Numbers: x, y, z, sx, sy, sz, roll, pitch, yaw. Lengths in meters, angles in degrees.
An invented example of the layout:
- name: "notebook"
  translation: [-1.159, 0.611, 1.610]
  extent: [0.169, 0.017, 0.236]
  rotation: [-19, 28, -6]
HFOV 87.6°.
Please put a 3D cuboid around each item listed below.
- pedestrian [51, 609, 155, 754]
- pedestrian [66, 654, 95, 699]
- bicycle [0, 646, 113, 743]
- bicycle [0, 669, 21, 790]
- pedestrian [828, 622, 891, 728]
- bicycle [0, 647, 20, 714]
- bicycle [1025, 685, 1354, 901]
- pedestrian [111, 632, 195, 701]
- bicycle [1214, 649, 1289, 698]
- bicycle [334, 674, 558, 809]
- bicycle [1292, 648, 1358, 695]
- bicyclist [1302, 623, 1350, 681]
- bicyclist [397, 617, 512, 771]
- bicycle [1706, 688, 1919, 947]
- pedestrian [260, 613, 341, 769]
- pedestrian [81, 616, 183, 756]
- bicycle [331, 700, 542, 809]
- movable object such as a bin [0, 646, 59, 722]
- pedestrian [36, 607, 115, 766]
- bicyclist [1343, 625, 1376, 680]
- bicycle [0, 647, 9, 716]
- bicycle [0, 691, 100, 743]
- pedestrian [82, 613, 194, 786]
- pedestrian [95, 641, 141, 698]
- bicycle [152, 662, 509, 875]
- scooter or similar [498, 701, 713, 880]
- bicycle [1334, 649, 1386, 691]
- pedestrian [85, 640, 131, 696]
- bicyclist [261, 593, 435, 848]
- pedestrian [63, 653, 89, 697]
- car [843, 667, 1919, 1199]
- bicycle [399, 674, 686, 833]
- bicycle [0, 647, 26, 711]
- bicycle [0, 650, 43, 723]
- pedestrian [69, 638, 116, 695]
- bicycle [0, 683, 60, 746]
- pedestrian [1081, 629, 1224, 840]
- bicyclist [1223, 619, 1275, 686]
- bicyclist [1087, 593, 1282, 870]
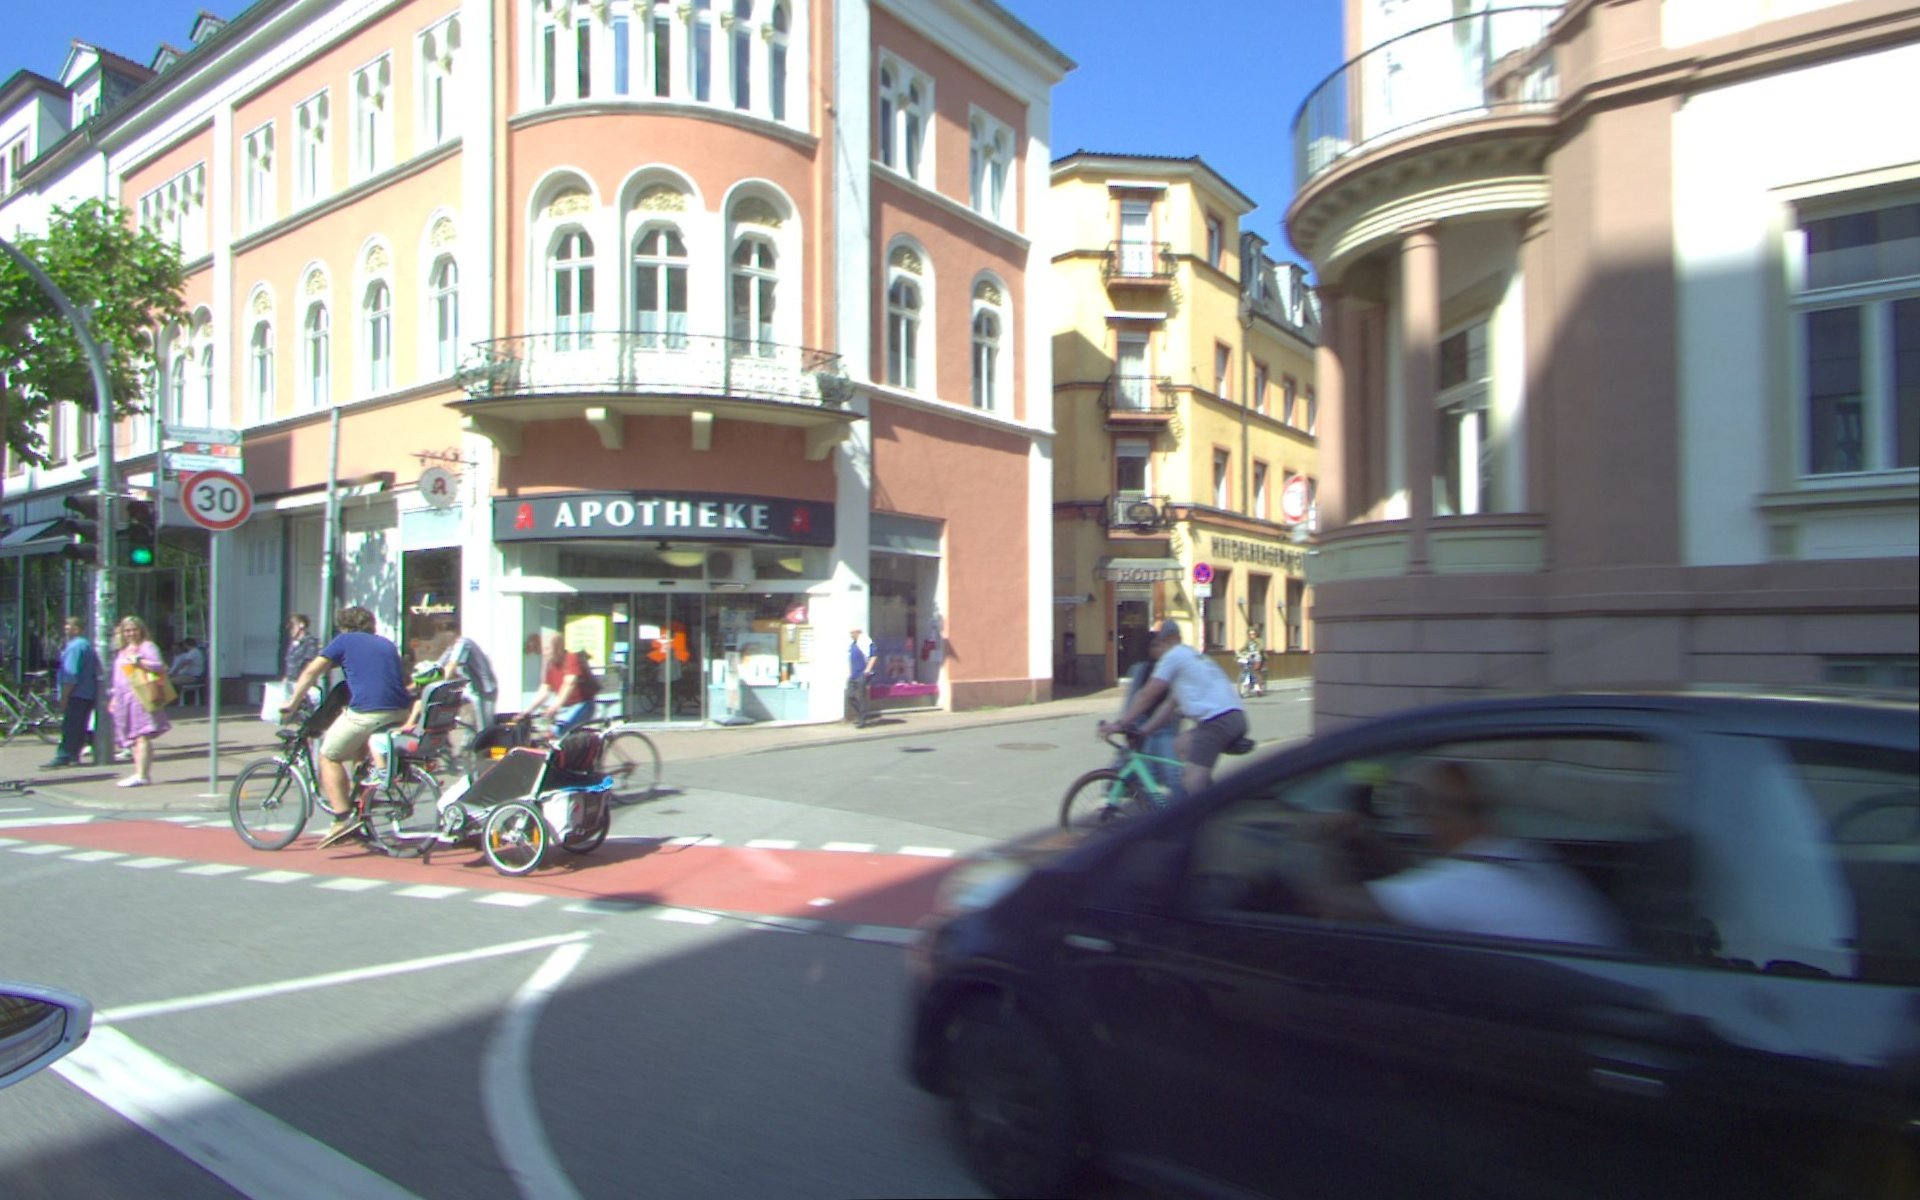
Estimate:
- name: "pedestrian"
  translation: [-11.175, 1.049, 13.064]
  extent: [0.631, 1.817, 0.787]
  rotation: [0, -3, 30]
- name: "pedestrian"
  translation: [-19.756, 1.712, 22.496]
  extent: [0.431, 0.980, 0.364]
  rotation: [0, -2, 34]
- name: "bicycle"
  translation: [-12.682, 1.247, 13.409]
  extent: [1.826, 1.203, 0.715]
  rotation: [5, -2, -20]
- name: "bicycle"
  translation: [-10.140, 1.241, 9.850]
  extent: [2.050, 1.140, 0.698]
  rotation: [-1, -4, 30]
- name: "pedestrian"
  translation: [-1.674, 1.230, 16.644]
  extent: [0.781, 1.680, 0.636]
  rotation: [2, 0, 43]
- name: "bicycle"
  translation: [-17.093, 1.366, 16.787]
  extent: [0.657, 1.141, 1.836]
  rotation: [-2, -3, 34]
- name: "bicycle"
  translation: [1.476, 1.196, 6.620]
  extent: [2.046, 1.142, 0.570]
  rotation: [0, 0, 30]
- name: "pedestrian"
  translation: [-17.533, 1.435, 21.776]
  extent: [0.778, 1.440, 1.232]
  rotation: [-2, -2, 30]
- name: "bicycle"
  translation: [7.197, 1.783, 24.604]
  extent: [0.762, 1.140, 2.554]
  rotation: [-3, -4, 40]
- name: "bicycle"
  translation: [-4.940, 1.315, 9.746]
  extent: [0.658, 1.141, 1.835]
  rotation: [-2, -3, 36]
- name: "bicycle"
  translation: [9.437, 1.809, 25.827]
  extent: [0.764, 1.141, 2.554]
  rotation: [0, -2, 41]
- name: "bicyclist"
  translation: [9.445, 1.340, 25.833]
  extent: [0.764, 1.449, 1.251]
  rotation: [0, -2, 41]
- name: "bicyclist"
  translation: [-4.933, 0.886, 9.799]
  extent: [0.494, 1.429, 0.857]
  rotation: [0, -1, 33]
- name: "bicycle"
  translation: [5.442, 1.076, 4.587]
  extent: [3.195, 1.142, 0.746]
  rotation: [0, 0, 34]
- name: "pedestrian"
  translation: [-8.196, 1.117, 12.447]
  extent: [0.608, 1.865, 0.636]
  rotation: [-2, -5, 44]
- name: "pedestrian"
  translation: [-10.560, 1.076, 12.781]
  extent: [0.631, 1.712, 0.787]
  rotation: [0, -2, 30]
- name: "bicycle"
  translation: [-5.060, 1.459, 9.800]
  extent: [0.494, 0.855, 1.818]
  rotation: [-1, -2, 33]
- name: "movable object such as a bin"
  translation: [-15.681, 1.329, 15.996]
  extent: [1.839, 1.203, 0.647]
  rotation: [5, -5, -42]
- name: "pedestrian"
  translation: [-10.473, 1.009, 11.862]
  extent: [0.599, 1.817, 0.452]
  rotation: [0, -3, 30]
- name: "bicyclist"
  translation: [11.598, 1.518, 29.072]
  extent: [0.621, 1.549, 0.882]
  rotation: [0, -1, 41]
- name: "bicycle"
  translation: [-16.618, 1.336, 16.120]
  extent: [0.659, 1.141, 1.833]
  rotation: [-2, -3, 39]
- name: "bicycle"
  translation: [-14.068, 1.815, 14.770]
  extent: [1.823, 0.440, 1.137]
  rotation: [-9, 6, 7]
- name: "pedestrian"
  translation: [-8.630, 1.030, 10.523]
  extent: [0.778, 1.730, 0.639]
  rotation: [-3, -4, 30]
- name: "pedestrian"
  translation: [-19.316, 1.583, 22.975]
  extent: [0.600, 1.269, 0.638]
  rotation: [-2, -1, 30]
- name: "bicycle"
  translation: [-4.433, 1.126, 7.086]
  extent: [2.239, 1.285, 0.734]
  rotation: [1, -2, 13]
- name: "scooter or similar"
  translation: [-2.379, 1.253, 6.821]
  extent: [1.104, 1.073, 0.786]
  rotation: [1, -3, 9]
- name: "bicycle"
  translation: [11.668, 2.018, 29.162]
  extent: [0.621, 1.141, 2.554]
  rotation: [0, -2, 41]
- name: "pedestrian"
  translation: [-19.818, 1.574, 23.285]
  extent: [0.524, 1.269, 0.680]
  rotation: [0, 0, 30]
- name: "bicyclist"
  translation: [-4.320, 0.815, 7.108]
  extent: [0.760, 1.695, 0.732]
  rotation: [-1, -1, 14]
- name: "pedestrian"
  translation: [-20.252, 1.714, 22.939]
  extent: [0.431, 0.980, 0.340]
  rotation: [0, -2, 34]
- name: "car"
  translation: [1.546, 0.919, 2.455]
  extent: [3.691, 1.496, 1.621]
  rotation: [-3, -4, 42]
- name: "bicycle"
  translation: [-3.636, 1.285, 9.062]
  extent: [0.618, 1.141, 2.564]
  rotation: [1, -2, 28]
- name: "bicycle"
  translation: [-17.722, 1.402, 17.581]
  extent: [0.657, 1.141, 1.836]
  rotation: [-2, -3, 34]
- name: "bicycle"
  translation: [-15.477, 1.331, 15.503]
  extent: [1.828, 1.140, 0.342]
  rotation: [5, -4, -43]
- name: "pedestrian"
  translation: [-20.735, 1.579, 23.940]
  extent: [0.524, 1.349, 0.680]
  rotation: [0, -2, 30]
- name: "bicycle"
  translation: [-14.854, 1.679, 15.007]
  extent: [1.020, 0.395, 1.850]
  rotation: [-40, -31, 23]
- name: "pedestrian"
  translation: [1.589, 1.089, 8.446]
  extent: [0.957, 1.632, 0.903]
  rotation: [-3, -2, 0]
- name: "bicyclist"
  translation: [7.073, 1.293, 24.487]
  extent: [0.762, 1.576, 1.216]
  rotation: [-3, -4, 41]
- name: "bicyclist"
  translation: [1.479, 0.804, 6.616]
  extent: [1.141, 1.684, 0.570]
  rotation: [0, 0, 29]
